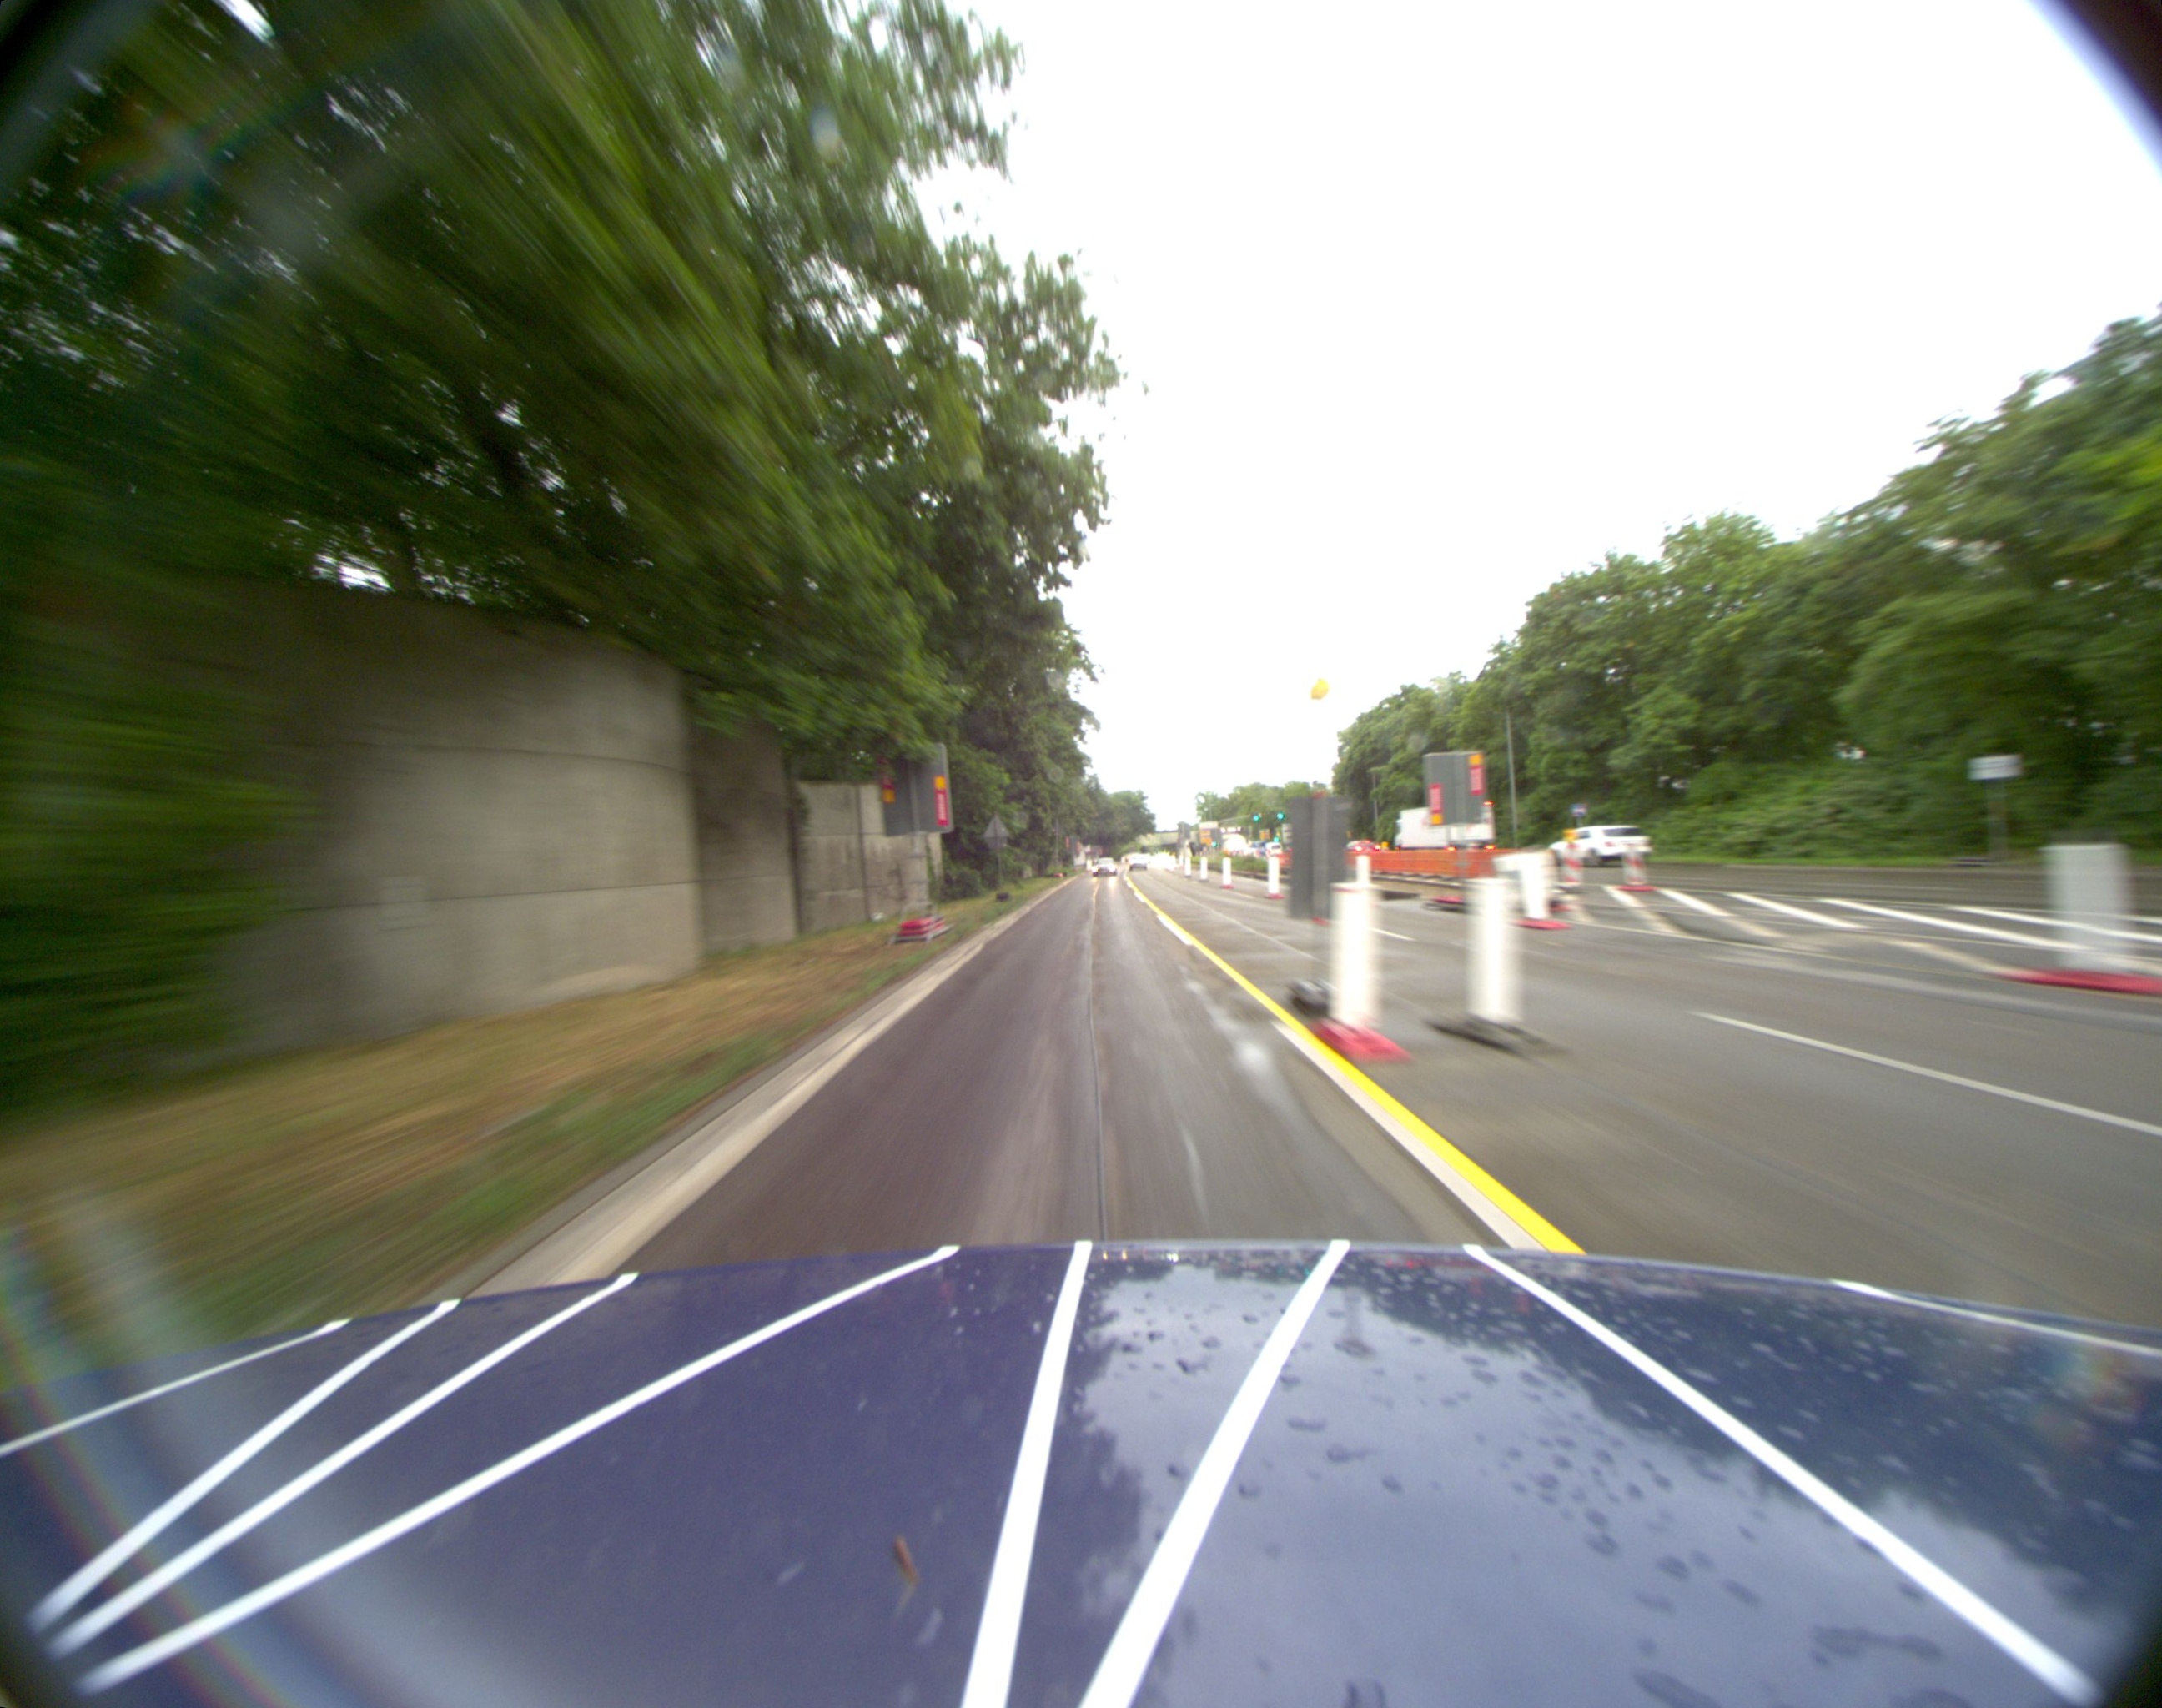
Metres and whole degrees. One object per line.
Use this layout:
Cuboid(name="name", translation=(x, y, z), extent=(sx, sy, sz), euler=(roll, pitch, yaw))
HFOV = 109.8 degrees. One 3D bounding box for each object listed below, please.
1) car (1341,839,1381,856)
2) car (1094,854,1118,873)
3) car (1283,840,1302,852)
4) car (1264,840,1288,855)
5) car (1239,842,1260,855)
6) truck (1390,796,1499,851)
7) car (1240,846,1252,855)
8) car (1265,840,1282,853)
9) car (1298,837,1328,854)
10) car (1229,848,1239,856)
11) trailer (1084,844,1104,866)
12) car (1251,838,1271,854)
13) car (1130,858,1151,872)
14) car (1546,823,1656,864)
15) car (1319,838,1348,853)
Cuboid(name="car", translation=(21.299, -0.507, 57.988), extent=(1.609, 1.145, 4.283), euler=(-3, 0, 3))
Cuboid(name="car", translation=(1.954, 0.747, 60.329), extent=(1.698, 1.393, 3.824), euler=(-3, 0, -1))
Cuboid(name="car", translation=(28.966, -1.094, 104.097), extent=(1.797, 1.514, 4.636), euler=(-4, 0, 7))
Cuboid(name="car", translation=(25.545, -0.880, 99.658), extent=(1.918, 1.771, 4.835), euler=(-4, 0, 3))
Cuboid(name="car", translation=(21.356, -0.703, 96.259), extent=(1.860, 1.477, 4.680), euler=(-3, 0, 4))
Cuboid(name="truck", translation=(23.727, -1.827, 50.365), extent=(2.802, 3.130, 10.149), euler=(-3, 0, 3))
Cuboid(name="car", translation=(23.911, -0.493, 110.163), extent=(1.432, 1.193, 3.301), euler=(-4, 0, 7))
Cuboid(name="car", translation=(33.315, -1.330, 131.509), extent=(2.039, 1.962, 4.993), euler=(-4, -1, 6))
Cuboid(name="car", translation=(22.912, -0.842, 75.138), extent=(1.839, 1.541, 4.040), euler=(-3, 0, 3))
Cuboid(name="car", translation=(26.041, -0.345, 129.060), extent=(1.551, 1.193, 4.650), euler=(-4, 0, 12))
Cuboid(name="trailer", translation=(2.310, 0.120, 130.720), extent=(2.311, 3.568, 5.964), euler=(-2, 1, 11))
Cuboid(name="car", translation=(28.304, -1.229, 119.471), extent=(2.199, 2.376, 6.247), euler=(-4, -1, 7))
Cuboid(name="car", translation=(6.120, 1.087, 77.748), extent=(1.696, 1.300, 3.828), euler=(-3, 0, 11))
Cuboid(name="car", translation=(22.998, -0.443, 33.852), extent=(1.848, 1.713, 4.720), euler=(0, 0, 3))
Cuboid(name="car", translation=(26.512, -0.905, 79.872), extent=(1.795, 1.417, 3.897), euler=(-3, 0, 3))
